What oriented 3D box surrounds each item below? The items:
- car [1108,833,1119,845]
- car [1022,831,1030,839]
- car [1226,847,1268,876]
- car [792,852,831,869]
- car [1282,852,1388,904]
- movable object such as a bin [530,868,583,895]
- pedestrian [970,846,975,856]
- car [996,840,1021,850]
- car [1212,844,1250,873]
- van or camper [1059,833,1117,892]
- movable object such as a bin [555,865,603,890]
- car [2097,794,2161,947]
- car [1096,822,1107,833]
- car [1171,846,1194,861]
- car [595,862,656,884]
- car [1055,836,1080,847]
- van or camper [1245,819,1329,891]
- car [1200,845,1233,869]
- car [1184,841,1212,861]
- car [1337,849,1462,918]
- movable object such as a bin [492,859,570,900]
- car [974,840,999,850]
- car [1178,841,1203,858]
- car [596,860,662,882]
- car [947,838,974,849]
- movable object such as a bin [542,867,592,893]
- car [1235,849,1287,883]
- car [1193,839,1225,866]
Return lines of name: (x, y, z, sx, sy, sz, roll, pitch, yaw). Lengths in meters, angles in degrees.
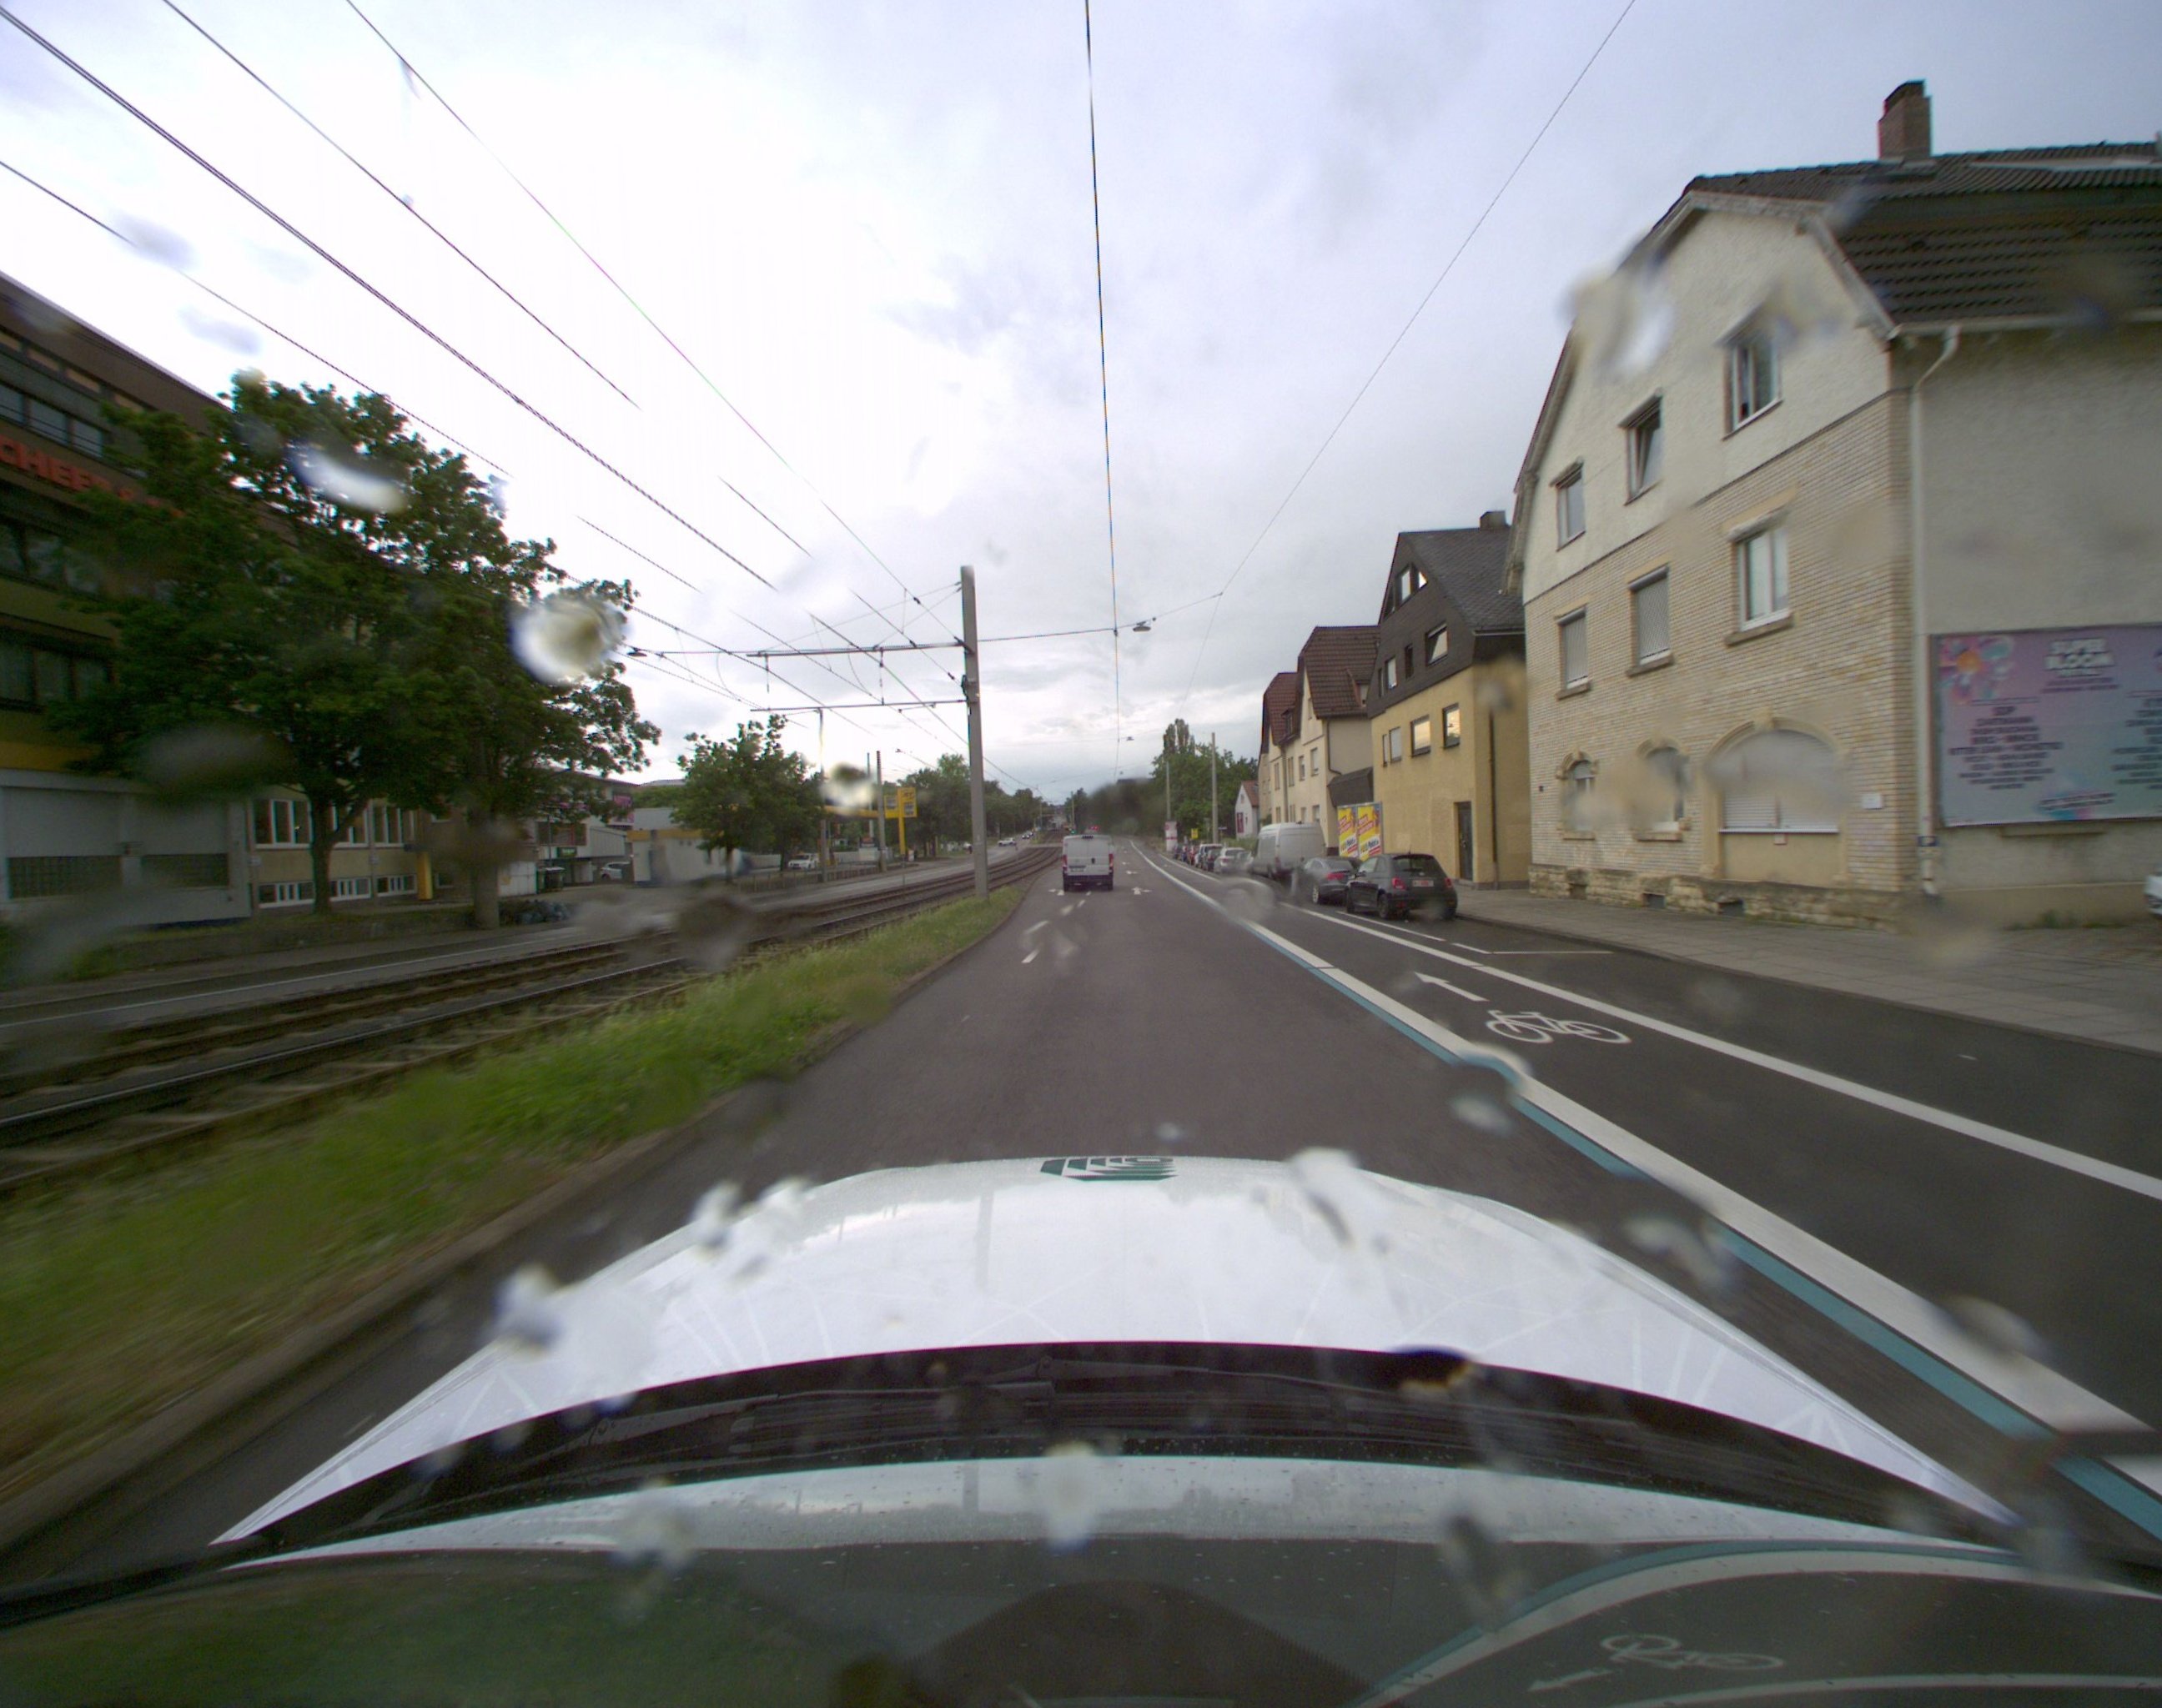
car: (5.646, -2.585, 141.406, 1.986, 2.013, 4.002, -1, 0, 2)
car: (-13.587, -4.644, 200.805, 1.684, 1.711, 3.777, -1, 0, 0)
car: (8.676, 0.360, 42.753, 1.619, 1.448, 3.711, -1, 1, 3)
car: (-23.695, 0.555, 71.692, 1.987, 1.442, 3.999, -2, 0, 0)
car: (7.666, 0.670, 25.047, 1.783, 1.406, 4.551, -1, 1, -1)
movable object such as a bin: (-29.299, 1.502, 45.524, 1.993, 1.375, 1.565, -1, 1, -9)
pedestrian: (-16.685, -0.422, 124.924, 0.612, 1.475, 0.640, -3, 0, -11)
car: (-14.282, -1.761, 160.939, 4.473, 2.013, 2.011, -1, 0, 23)
car: (8.802, 0.244, 48.118, 1.640, 1.615, 4.107, -1, 1, 2)
van or camper: (0.222, 0.320, 33.620, 2.193, 2.252, 4.681, -1, 0, -1)
movable object such as a bin: (-30.197, 1.403, 49.035, 1.993, 1.375, 1.565, -1, 1, -9)
car: (13.673, 0.079, 8.432, 3.974, 1.653, 1.870, -3, 1, 0)
car: (4.008, -5.114, 159.612, 1.988, 2.013, 3.998, -1, 0, -1)
car: (10.234, -0.086, 82.544, 1.841, 1.499, 3.955, -1, 0, 1)
car: (-33.364, 1.375, 59.741, 3.781, 1.479, 1.563, -1, 0, -24)
car: (-2.469, -2.255, 149.114, 4.469, 2.013, 2.013, -1, 0, 39)
van or camper: (7.995, -0.024, 32.181, 1.986, 2.563, 6.047, -1, 1, 2)
car: (8.865, 0.172, 53.691, 1.640, 1.445, 3.956, -1, 1, 2)
car: (9.904, -0.278, 69.072, 1.841, 1.645, 3.955, -1, 1, 1)
car: (7.437, 0.626, 19.348, 1.561, 1.498, 3.511, 0, 0, -1)
movable object such as a bin: (-28.893, 1.289, 42.918, 1.993, 1.919, 3.561, -1, 1, -9)
car: (-18.369, -1.721, 158.727, 4.473, 2.013, 2.011, -1, 0, 23)
car: (10.292, -0.417, 76.698, 1.841, 1.499, 3.955, -1, 0, 1)
car: (-30.705, 1.145, 55.435, 3.781, 1.453, 1.540, -1, 0, -24)
car: (-22.273, -1.926, 150.422, 4.482, 2.013, 2.007, -1, 0, 13)
movable object such as a bin: (-29.844, 1.506, 47.343, 1.993, 1.375, 1.565, -1, 1, -9)
car: (8.382, 0.536, 38.259, 1.702, 1.446, 4.043, -1, 1, 2)
car: (9.245, -0.140, 59.123, 1.741, 1.807, 3.955, -1, 1, 1)
